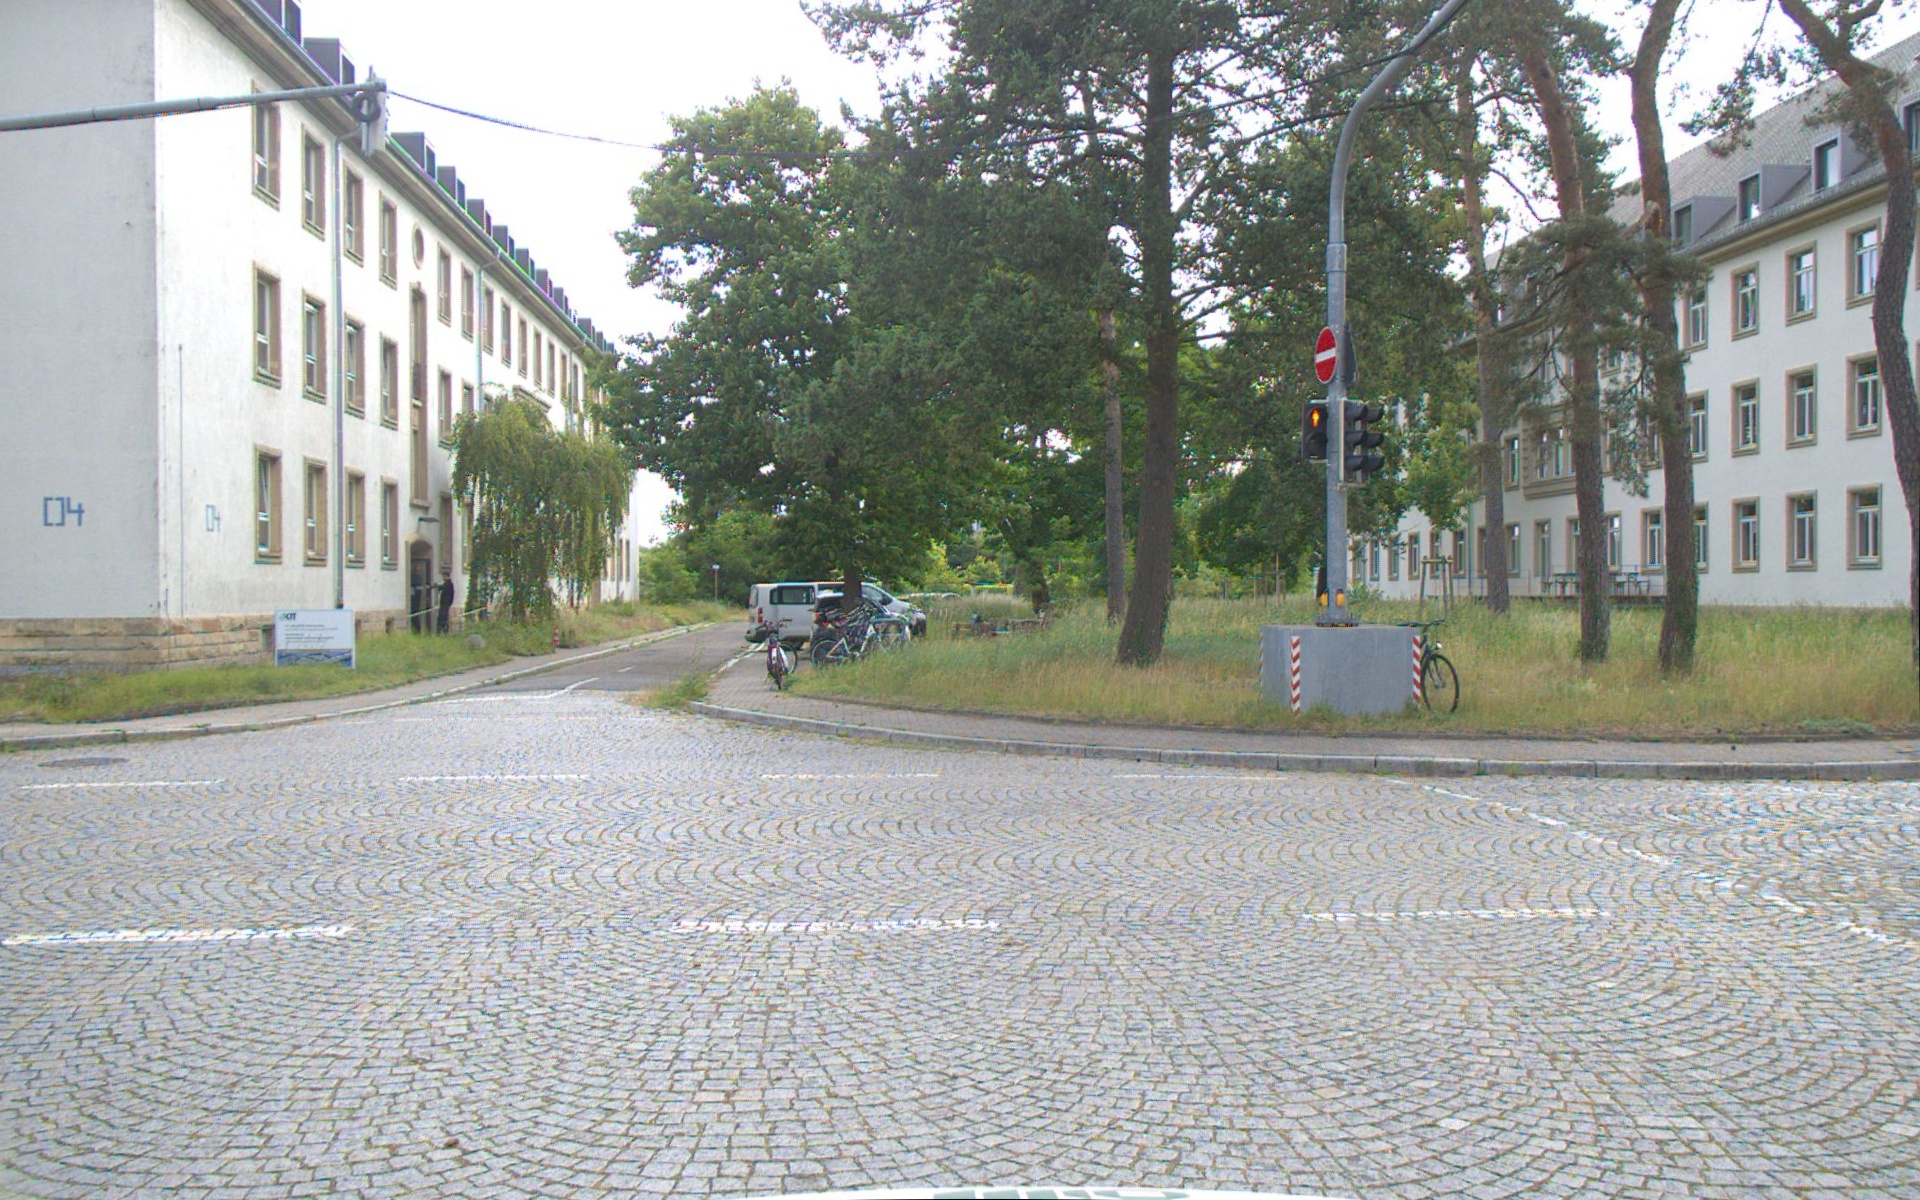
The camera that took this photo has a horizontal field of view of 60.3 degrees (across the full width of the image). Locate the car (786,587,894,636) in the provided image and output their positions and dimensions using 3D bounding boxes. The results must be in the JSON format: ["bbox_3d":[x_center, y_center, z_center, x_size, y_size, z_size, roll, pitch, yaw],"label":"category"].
[{"bbox_3d":[-4.481,0.419,61.823,3.953,1.748,1.679,-1,0,-6],"label":"car"}]

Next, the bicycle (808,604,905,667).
[{"bbox_3d":[-2.133,0.730,33.942,1.944,1.269,0.623,1,0,-6],"label":"bicycle"}]

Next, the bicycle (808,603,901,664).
[{"bbox_3d":[-2.241,0.700,35.114,1.944,1.269,0.623,1,0,-6],"label":"bicycle"}]

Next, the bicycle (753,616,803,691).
[{"bbox_3d":[-2.903,0.831,26.501,0.609,1.133,1.988,1,0,-1],"label":"bicycle"}]

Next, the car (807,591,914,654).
[{"bbox_3d":[-2.684,0.593,44.561,2.792,1.585,1.471,-1,1,-5],"label":"car"}]

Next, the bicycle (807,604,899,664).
[{"bbox_3d":[-2.299,0.733,35.604,1.944,1.269,0.623,1,0,-6],"label":"bicycle"}]

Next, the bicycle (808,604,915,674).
[{"bbox_3d":[-1.826,0.722,30.601,1.944,1.269,0.623,1,0,-6],"label":"bicycle"}]

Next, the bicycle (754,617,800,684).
[{"bbox_3d":[-3.133,0.850,28.442,0.609,1.101,1.677,1,0,0],"label":"bicycle"}]

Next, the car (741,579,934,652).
[{"bbox_3d":[-3.566,0.412,47.975,5.224,1.949,2.138,-1,0,-19],"label":"car"}]

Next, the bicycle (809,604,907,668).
[{"bbox_3d":[-2.068,0.729,33.533,1.944,1.269,0.623,1,0,-6],"label":"bicycle"}]

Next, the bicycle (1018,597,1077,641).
[{"bbox_3d":[2.321,0.504,43.895,1.518,1.144,0.401,0,0,-3],"label":"bicycle"}]

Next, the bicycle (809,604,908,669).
[{"bbox_3d":[-2.039,0.728,33.008,1.944,1.269,0.623,1,0,-6],"label":"bicycle"}]

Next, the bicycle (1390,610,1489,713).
[{"bbox_3d":[5.219,0.643,18.081,0.568,0.987,1.678,-2,2,0],"label":"bicycle"}]

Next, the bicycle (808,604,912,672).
[{"bbox_3d":[-1.918,0.724,31.522,1.944,1.269,0.623,1,0,-6],"label":"bicycle"}]

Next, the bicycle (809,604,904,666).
[{"bbox_3d":[-2.176,0.731,34.605,1.944,1.269,0.623,1,0,-6],"label":"bicycle"}]

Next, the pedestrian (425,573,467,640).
[{"bbox_3d":[-13.966,0.171,44.956,0.820,1.812,0.941,0,0,1],"label":"pedestrian"}]

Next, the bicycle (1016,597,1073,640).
[{"bbox_3d":[2.293,0.505,45.127,1.518,1.144,0.401,0,0,-3],"label":"bicycle"}]

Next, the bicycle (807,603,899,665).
[{"bbox_3d":[-2.356,0.735,36.261,1.944,1.269,0.623,-2,0,-6],"label":"bicycle"}]

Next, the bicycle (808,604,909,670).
[{"bbox_3d":[-1.991,0.726,32.378,1.944,1.269,0.623,1,0,-6],"label":"bicycle"}]

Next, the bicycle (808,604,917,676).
[{"bbox_3d":[-1.773,0.721,29.975,1.944,1.269,0.623,1,0,-6],"label":"bicycle"}]
